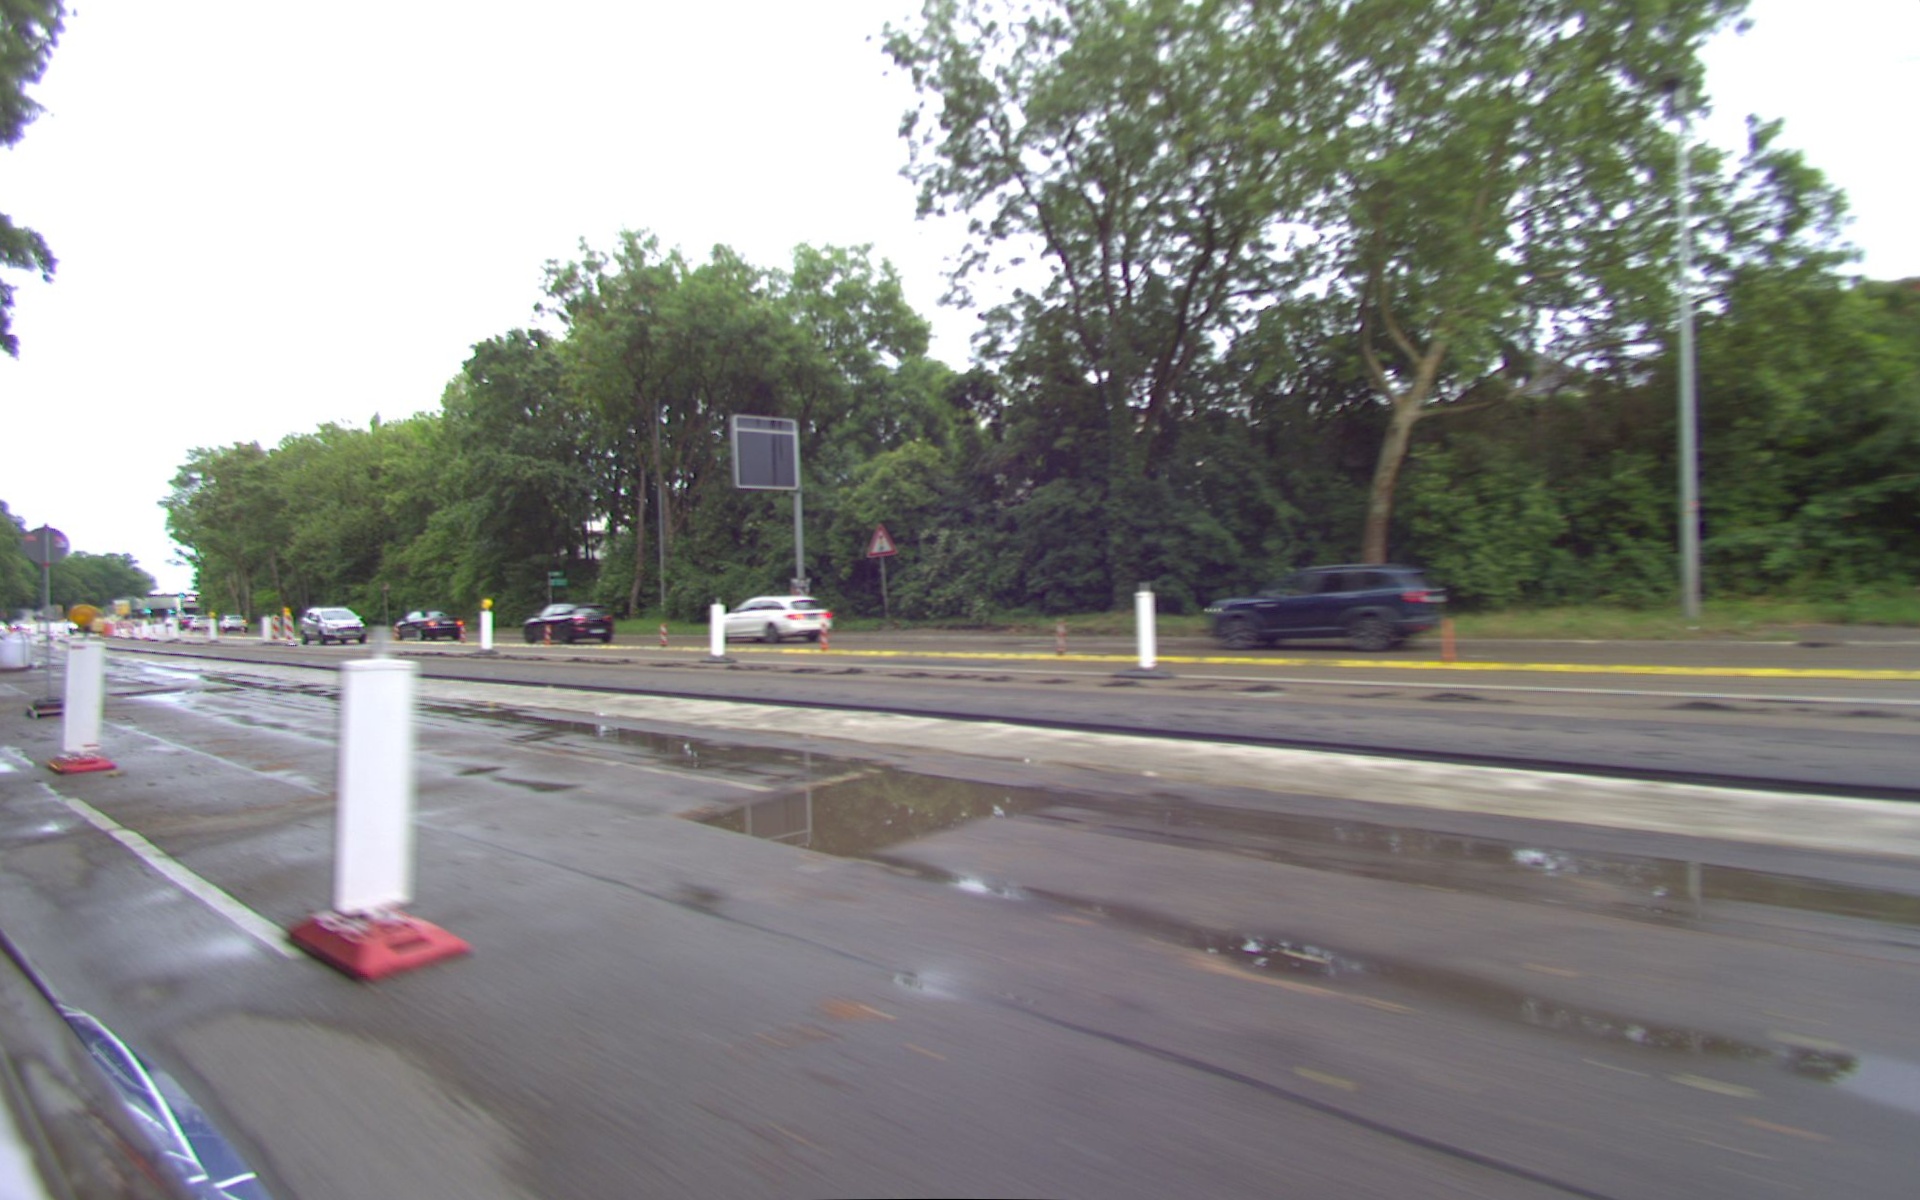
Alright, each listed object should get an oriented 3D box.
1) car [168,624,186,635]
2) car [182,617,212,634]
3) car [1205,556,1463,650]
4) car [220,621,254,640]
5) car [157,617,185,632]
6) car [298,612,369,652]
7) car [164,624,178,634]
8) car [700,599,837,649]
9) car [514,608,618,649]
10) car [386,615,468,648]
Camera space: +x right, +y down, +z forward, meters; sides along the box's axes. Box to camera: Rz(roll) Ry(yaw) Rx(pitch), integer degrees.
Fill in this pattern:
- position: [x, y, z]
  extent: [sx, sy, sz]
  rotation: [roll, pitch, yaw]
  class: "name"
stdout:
- position: [-107.617, 4.083, 139.087]
  extent: [1.761, 1.463, 4.690]
  rotation: [-1, -1, -39]
  class: "car"
- position: [-80.783, 2.720, 107.109]
  extent: [4.379, 1.764, 1.758]
  rotation: [-2, -1, 42]
  class: "car"
- position: [7.404, 0.091, 20.324]
  extent: [4.530, 1.698, 1.636]
  rotation: [-2, 1, 41]
  class: "car"
- position: [-63.052, 2.677, 88.244]
  extent: [4.157, 1.553, 1.648]
  rotation: [-2, -3, 43]
  class: "car"
- position: [-91.495, 2.872, 117.314]
  extent: [4.914, 1.676, 1.758]
  rotation: [-2, -2, 42]
  class: "car"
- position: [-27.524, 1.403, 44.430]
  extent: [3.862, 1.596, 1.769]
  rotation: [-2, 0, 44]
  class: "car"
- position: [-126.104, 4.651, 161.726]
  extent: [1.761, 1.437, 4.478]
  rotation: [-1, -1, -38]
  class: "car"
- position: [-6.158, 0.765, 32.258]
  extent: [4.600, 1.430, 1.799]
  rotation: [-2, 1, 41]
  class: "car"
- position: [-14.302, 1.035, 36.644]
  extent: [4.202, 1.366, 1.799]
  rotation: [-2, -2, 41]
  class: "car"
- position: [-23.984, 1.419, 45.451]
  extent: [4.387, 1.366, 1.799]
  rotation: [-2, -2, 41]
  class: "car"
